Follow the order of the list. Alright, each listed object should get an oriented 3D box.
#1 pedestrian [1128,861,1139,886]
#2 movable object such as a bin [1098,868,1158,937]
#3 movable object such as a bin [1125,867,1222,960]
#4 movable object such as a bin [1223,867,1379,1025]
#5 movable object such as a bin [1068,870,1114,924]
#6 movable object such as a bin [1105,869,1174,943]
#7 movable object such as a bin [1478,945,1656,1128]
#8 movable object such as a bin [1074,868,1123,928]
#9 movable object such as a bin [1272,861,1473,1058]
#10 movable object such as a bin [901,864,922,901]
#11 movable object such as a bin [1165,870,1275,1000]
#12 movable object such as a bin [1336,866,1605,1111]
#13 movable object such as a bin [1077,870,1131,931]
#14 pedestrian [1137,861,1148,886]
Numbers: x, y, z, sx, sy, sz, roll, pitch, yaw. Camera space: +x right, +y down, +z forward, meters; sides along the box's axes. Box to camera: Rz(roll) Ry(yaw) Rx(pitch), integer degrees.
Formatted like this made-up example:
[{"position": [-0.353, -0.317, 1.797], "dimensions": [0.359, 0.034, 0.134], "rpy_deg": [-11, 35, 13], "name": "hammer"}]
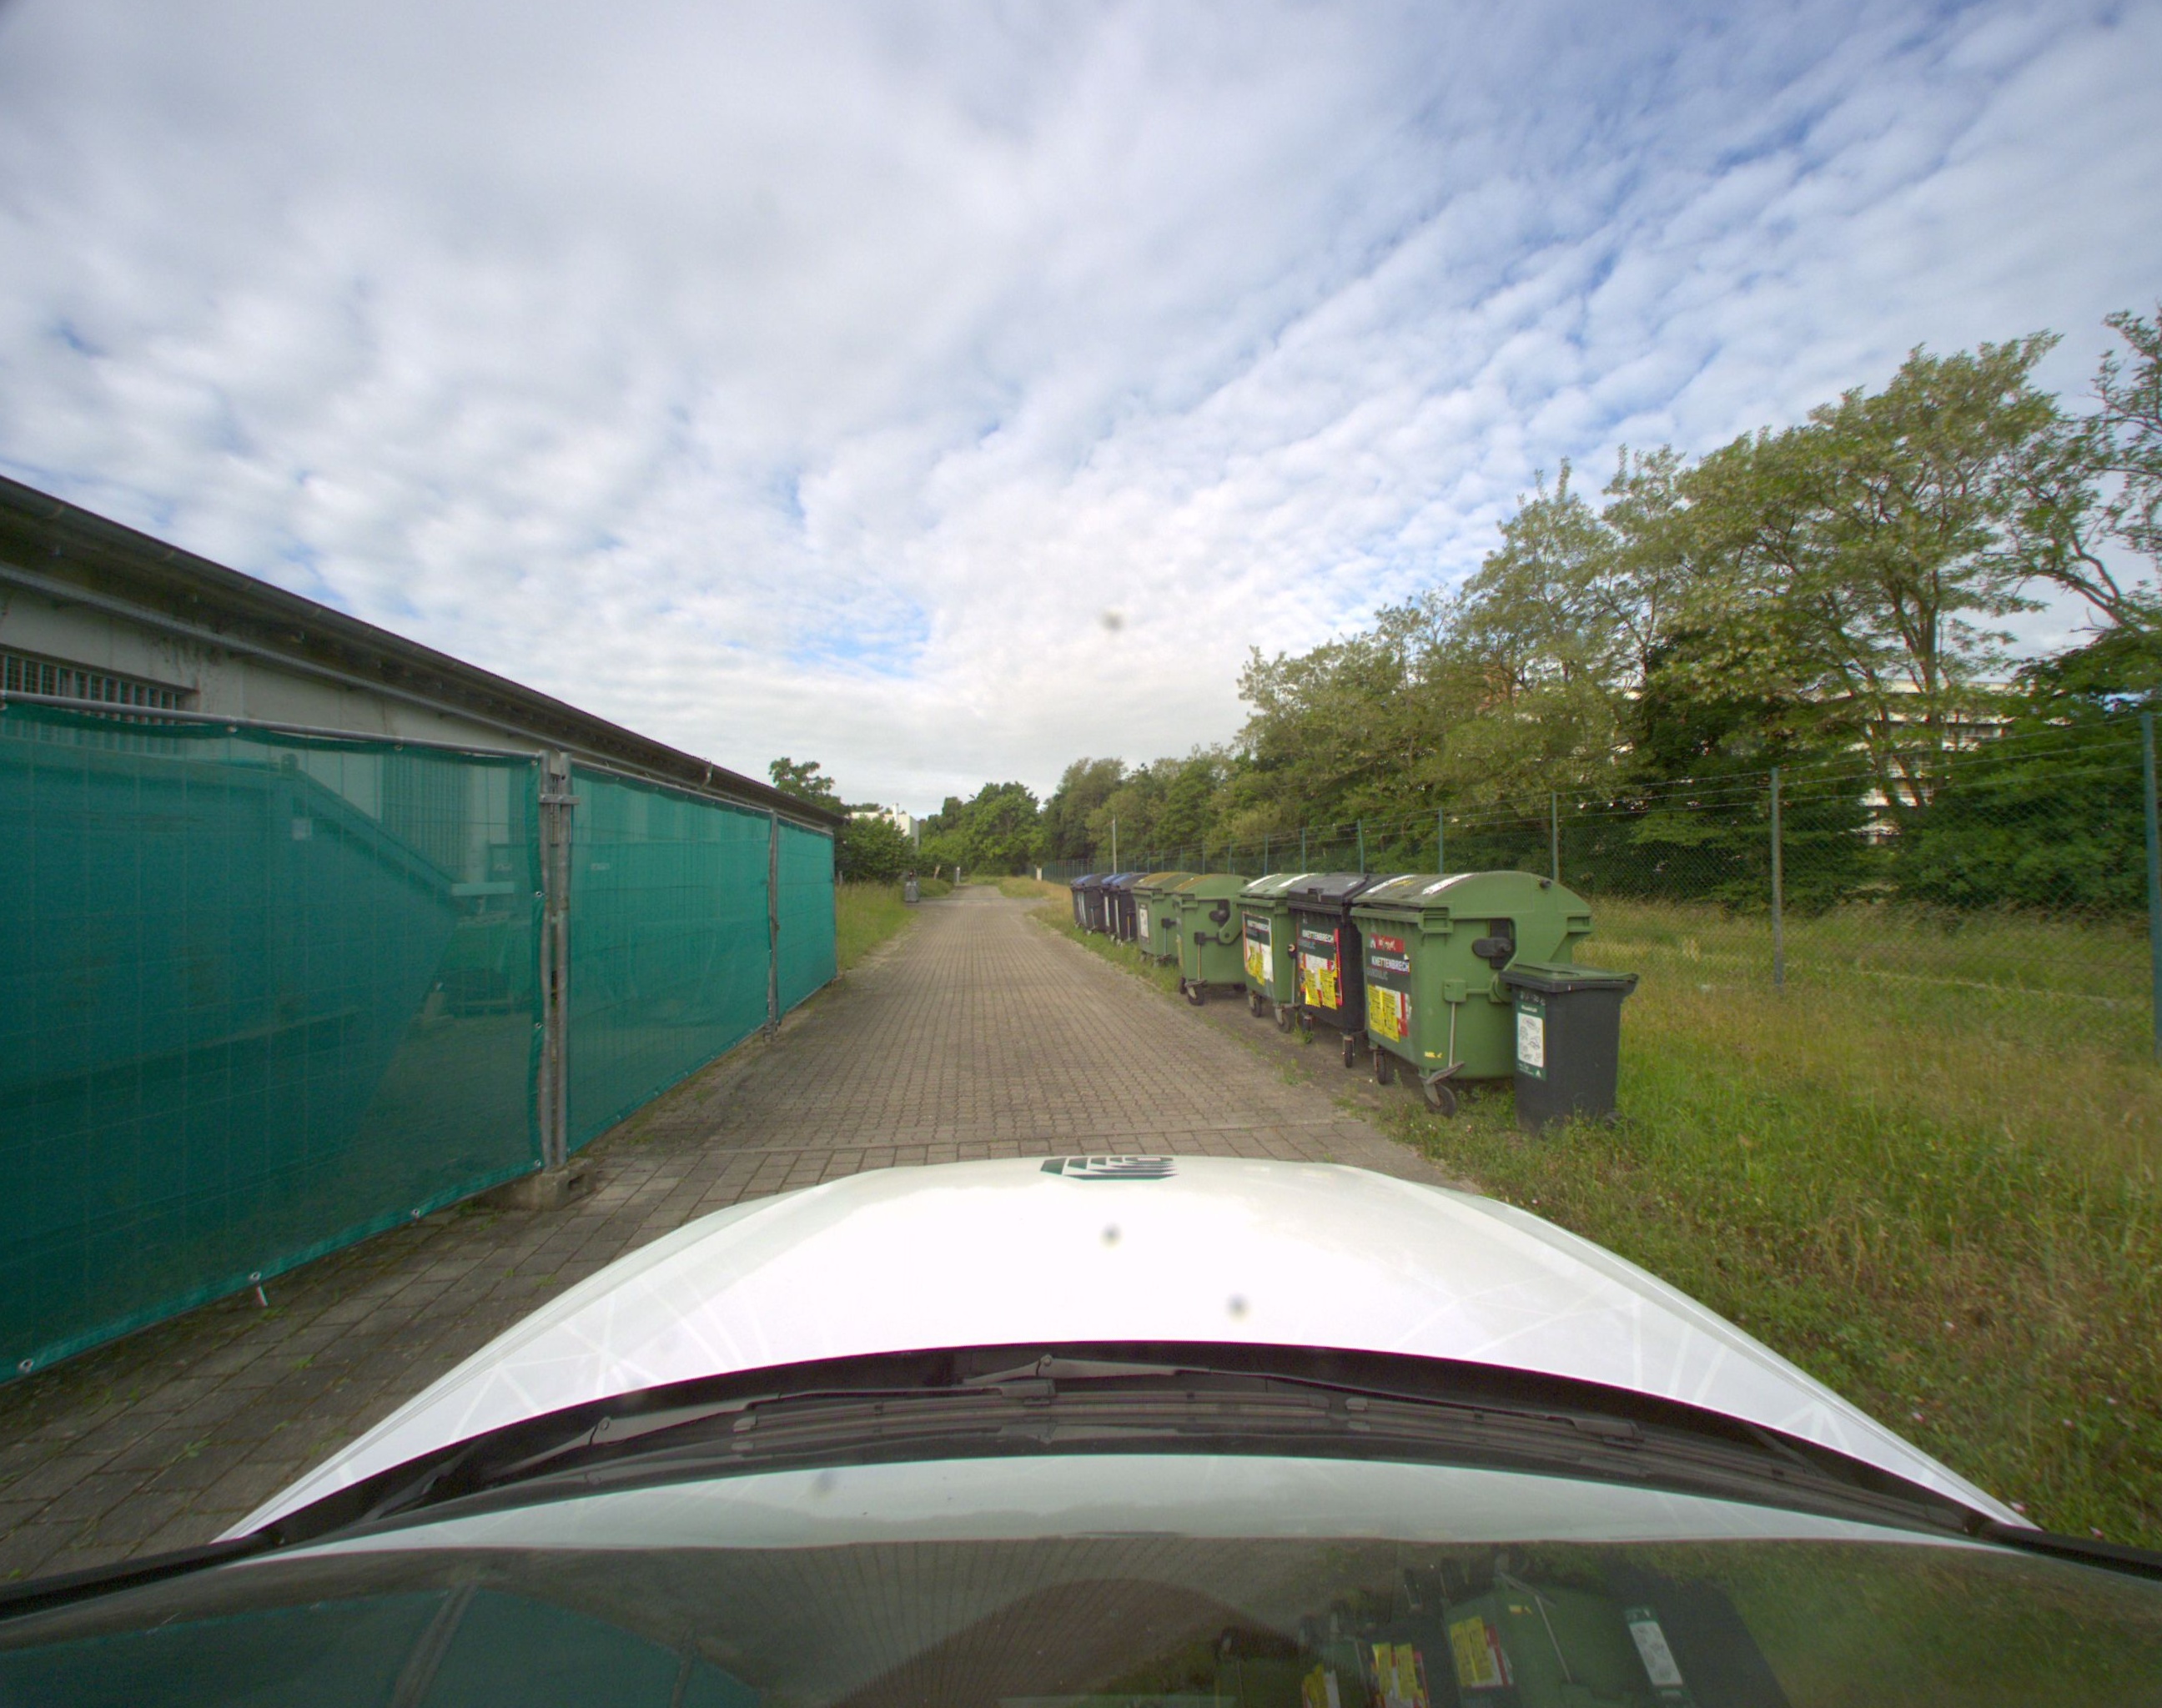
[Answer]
[{"position": [4.307, 1.623, 67.259], "dimensions": [0.759, 2.014, 0.662], "rpy_deg": [-1, -1, -9], "name": "pedestrian"}, {"position": [0.952, 0.983, 16.877], "dimensions": [1.120, 1.374, 1.492], "rpy_deg": [0, -2, -2], "name": "movable object such as a bin"}, {"position": [1.338, 0.855, 12.112], "dimensions": [1.122, 1.296, 1.375], "rpy_deg": [0, -2, -8], "name": "movable object such as a bin"}, {"position": [2.103, 0.846, 8.008], "dimensions": [1.067, 1.406, 1.382], "rpy_deg": [0, -2, -5], "name": "movable object such as a bin"}, {"position": [0.243, 1.096, 21.029], "dimensions": [1.120, 1.351, 1.424], "rpy_deg": [0, -2, -2], "name": "movable object such as a bin"}, {"position": [1.073, 0.955, 15.302], "dimensions": [1.151, 1.325, 1.492], "rpy_deg": [0, -2, -2], "name": "movable object such as a bin"}, {"position": [2.583, 0.949, 4.382], "dimensions": [0.597, 0.866, 0.586], "rpy_deg": [0, -2, 1], "name": "movable object such as a bin"}, {"position": [0.407, 1.043, 19.625], "dimensions": [1.120, 1.379, 1.324], "rpy_deg": [0, -2, -2], "name": "movable object such as a bin"}, {"position": [2.312, 0.791, 6.696], "dimensions": [1.067, 1.435, 1.395], "rpy_deg": [0, -2, -5], "name": "movable object such as a bin"}, {"position": [-9.356, 1.556, 44.924], "dimensions": [0.932, 1.982, 0.853], "rpy_deg": [-1, -1, 1], "name": "movable object such as a bin"}, {"position": [1.577, 0.899, 9.531], "dimensions": [1.118, 1.398, 1.386], "rpy_deg": [0, -2, 3], "name": "movable object such as a bin"}, {"position": [2.439, 0.792, 5.347], "dimensions": [1.124, 1.396, 1.356], "rpy_deg": [0, -2, 1], "name": "movable object such as a bin"}, {"position": [0.490, 1.019, 18.326], "dimensions": [1.120, 1.321, 1.324], "rpy_deg": [-1, -1, -2], "name": "movable object such as a bin"}, {"position": [5.113, 1.626, 67.397], "dimensions": [0.759, 2.014, 0.662], "rpy_deg": [-1, -1, -9], "name": "pedestrian"}]
